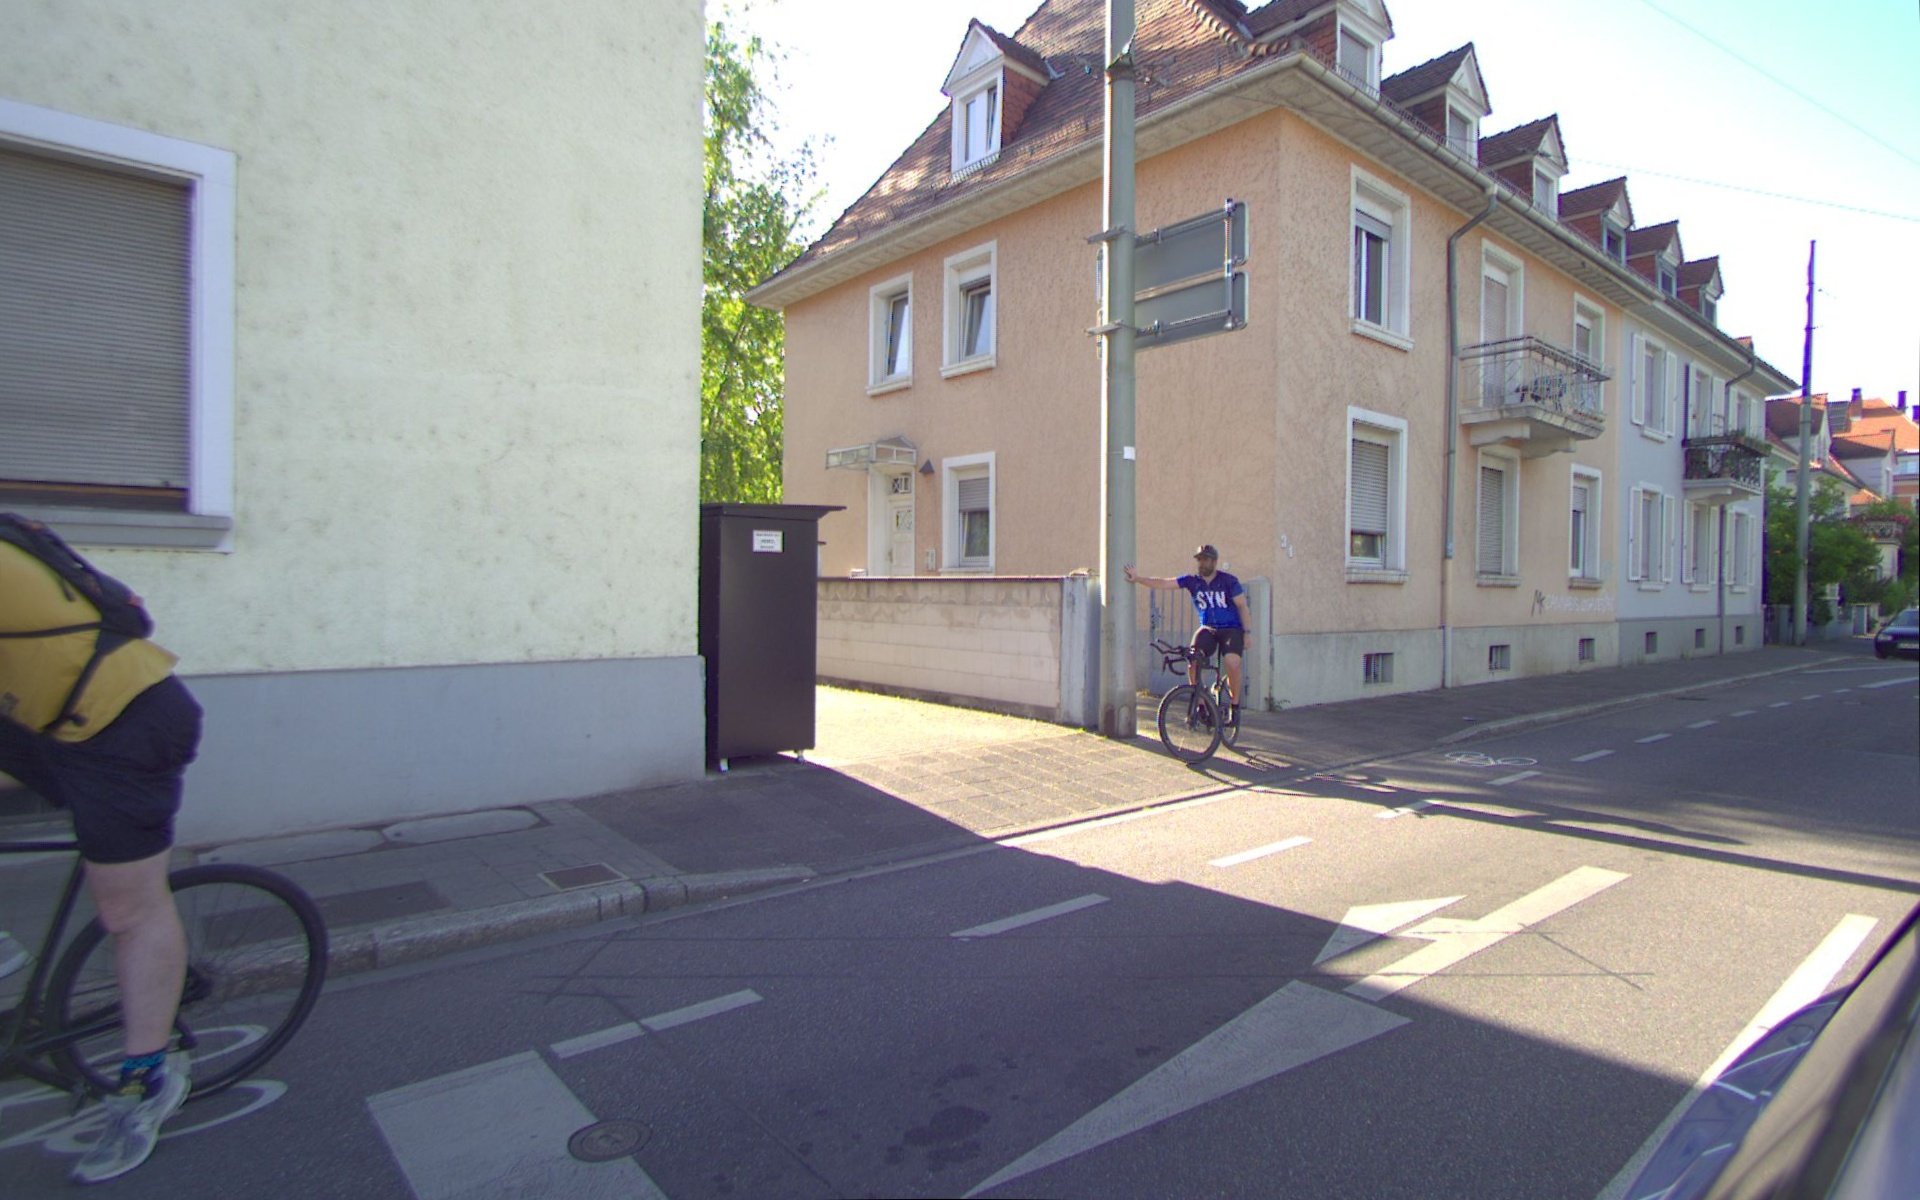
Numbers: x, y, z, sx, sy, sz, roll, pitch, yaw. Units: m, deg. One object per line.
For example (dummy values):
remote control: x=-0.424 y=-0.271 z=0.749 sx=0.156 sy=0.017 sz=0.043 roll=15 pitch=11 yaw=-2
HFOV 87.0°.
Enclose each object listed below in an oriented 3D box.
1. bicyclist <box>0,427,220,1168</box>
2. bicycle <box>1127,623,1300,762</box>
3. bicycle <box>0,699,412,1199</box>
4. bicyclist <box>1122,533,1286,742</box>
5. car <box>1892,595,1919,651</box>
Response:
bicyclist: x=-2.485 y=0.460 z=2.564 sx=0.939 sy=1.743 sz=0.582 roll=0 pitch=0 yaw=-41
bicycle: x=2.329 y=0.789 z=9.196 sx=1.689 sy=1.064 sz=0.595 roll=0 pitch=6 yaw=-41
bicycle: x=-2.453 y=0.892 z=2.575 sx=1.778 sy=1.101 sz=0.611 roll=0 pitch=1 yaw=-41
bicyclist: x=2.259 y=0.305 z=9.440 sx=0.838 sy=1.758 sz=1.072 roll=0 pitch=6 yaw=-40
car: x=26.655 y=0.606 z=27.322 sx=3.932 sy=1.438 sz=1.845 roll=0 pitch=1 yaw=-42
